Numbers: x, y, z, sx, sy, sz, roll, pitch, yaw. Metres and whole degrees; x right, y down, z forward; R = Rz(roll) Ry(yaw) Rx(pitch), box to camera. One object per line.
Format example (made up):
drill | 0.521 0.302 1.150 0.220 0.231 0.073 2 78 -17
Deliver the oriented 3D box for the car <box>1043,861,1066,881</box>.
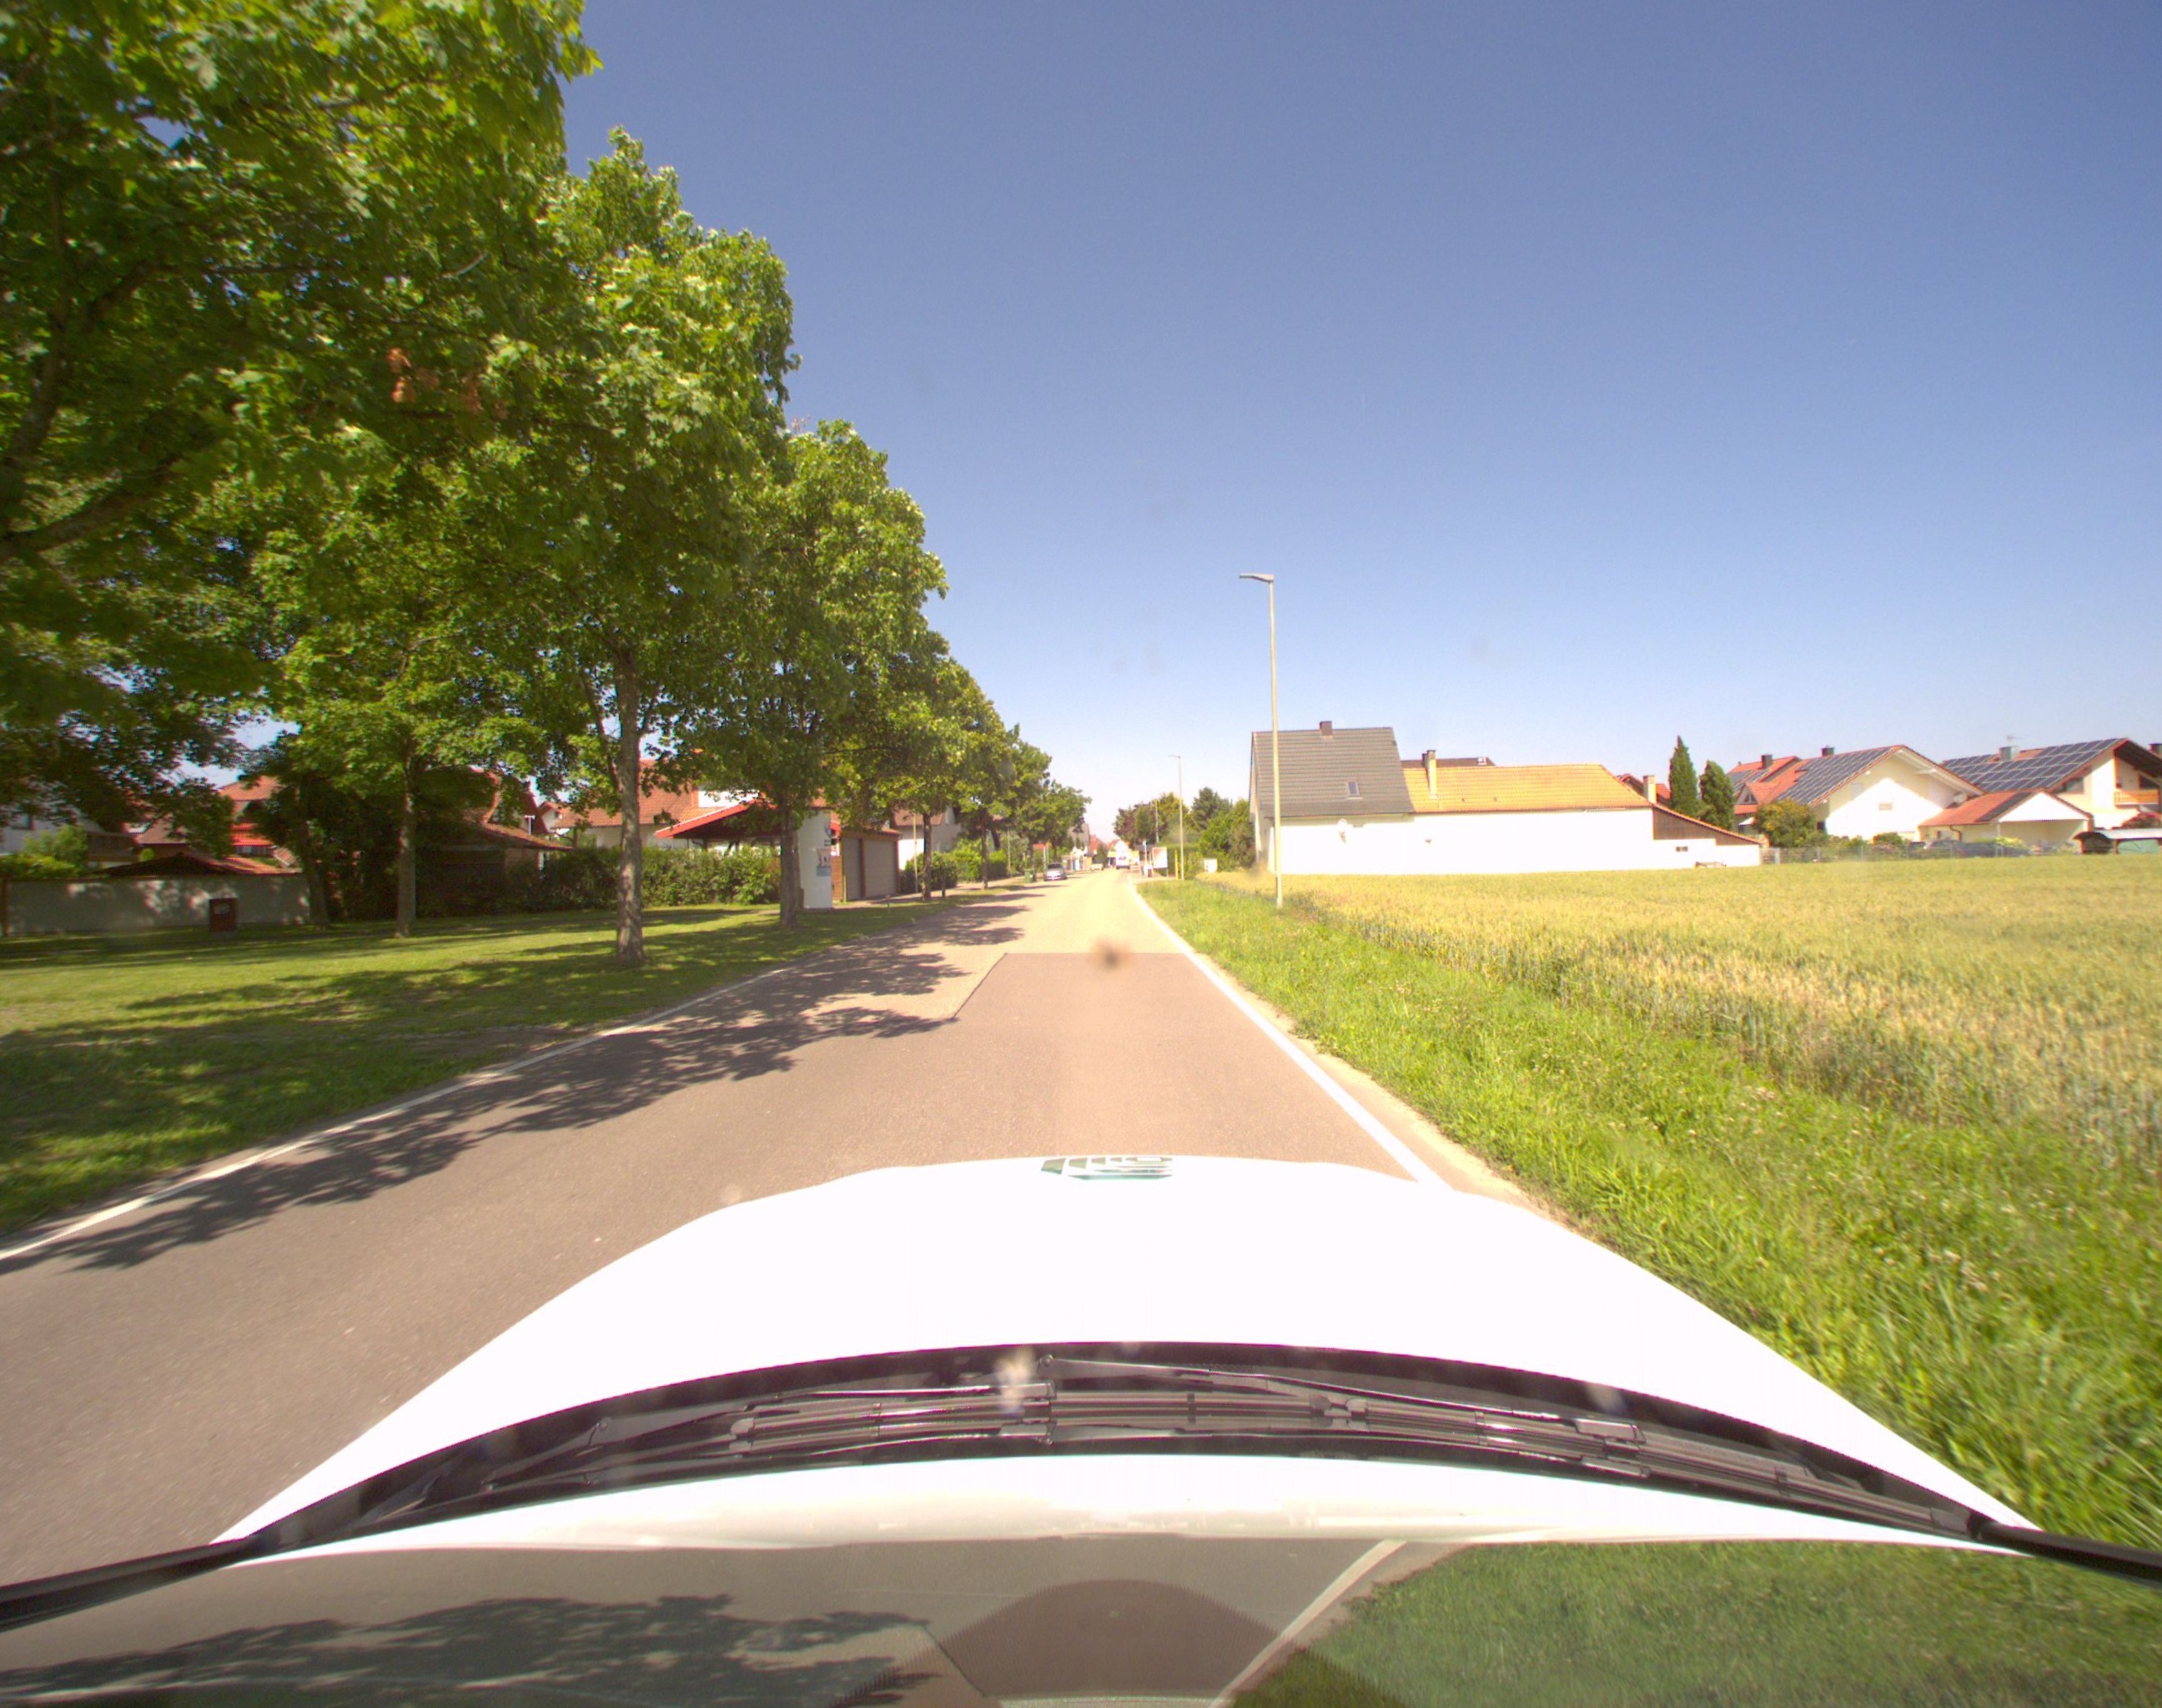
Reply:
car | -2.132 1.353 66.487 1.641 1.424 4.080 -4 -1 1

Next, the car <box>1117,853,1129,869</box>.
car | 6.463 1.121 126.314 1.730 2.432 4.377 -2 -1 3

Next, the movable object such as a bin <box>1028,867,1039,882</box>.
movable object such as a bin | -3.607 1.571 61.765 0.570 1.079 0.601 -2 -1 16

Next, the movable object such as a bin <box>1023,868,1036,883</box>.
movable object such as a bin | -3.854 1.596 61.073 0.706 1.079 0.643 -2 -1 28

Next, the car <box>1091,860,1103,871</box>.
car | 2.296 1.719 119.239 1.661 1.524 3.441 -3 -1 0
